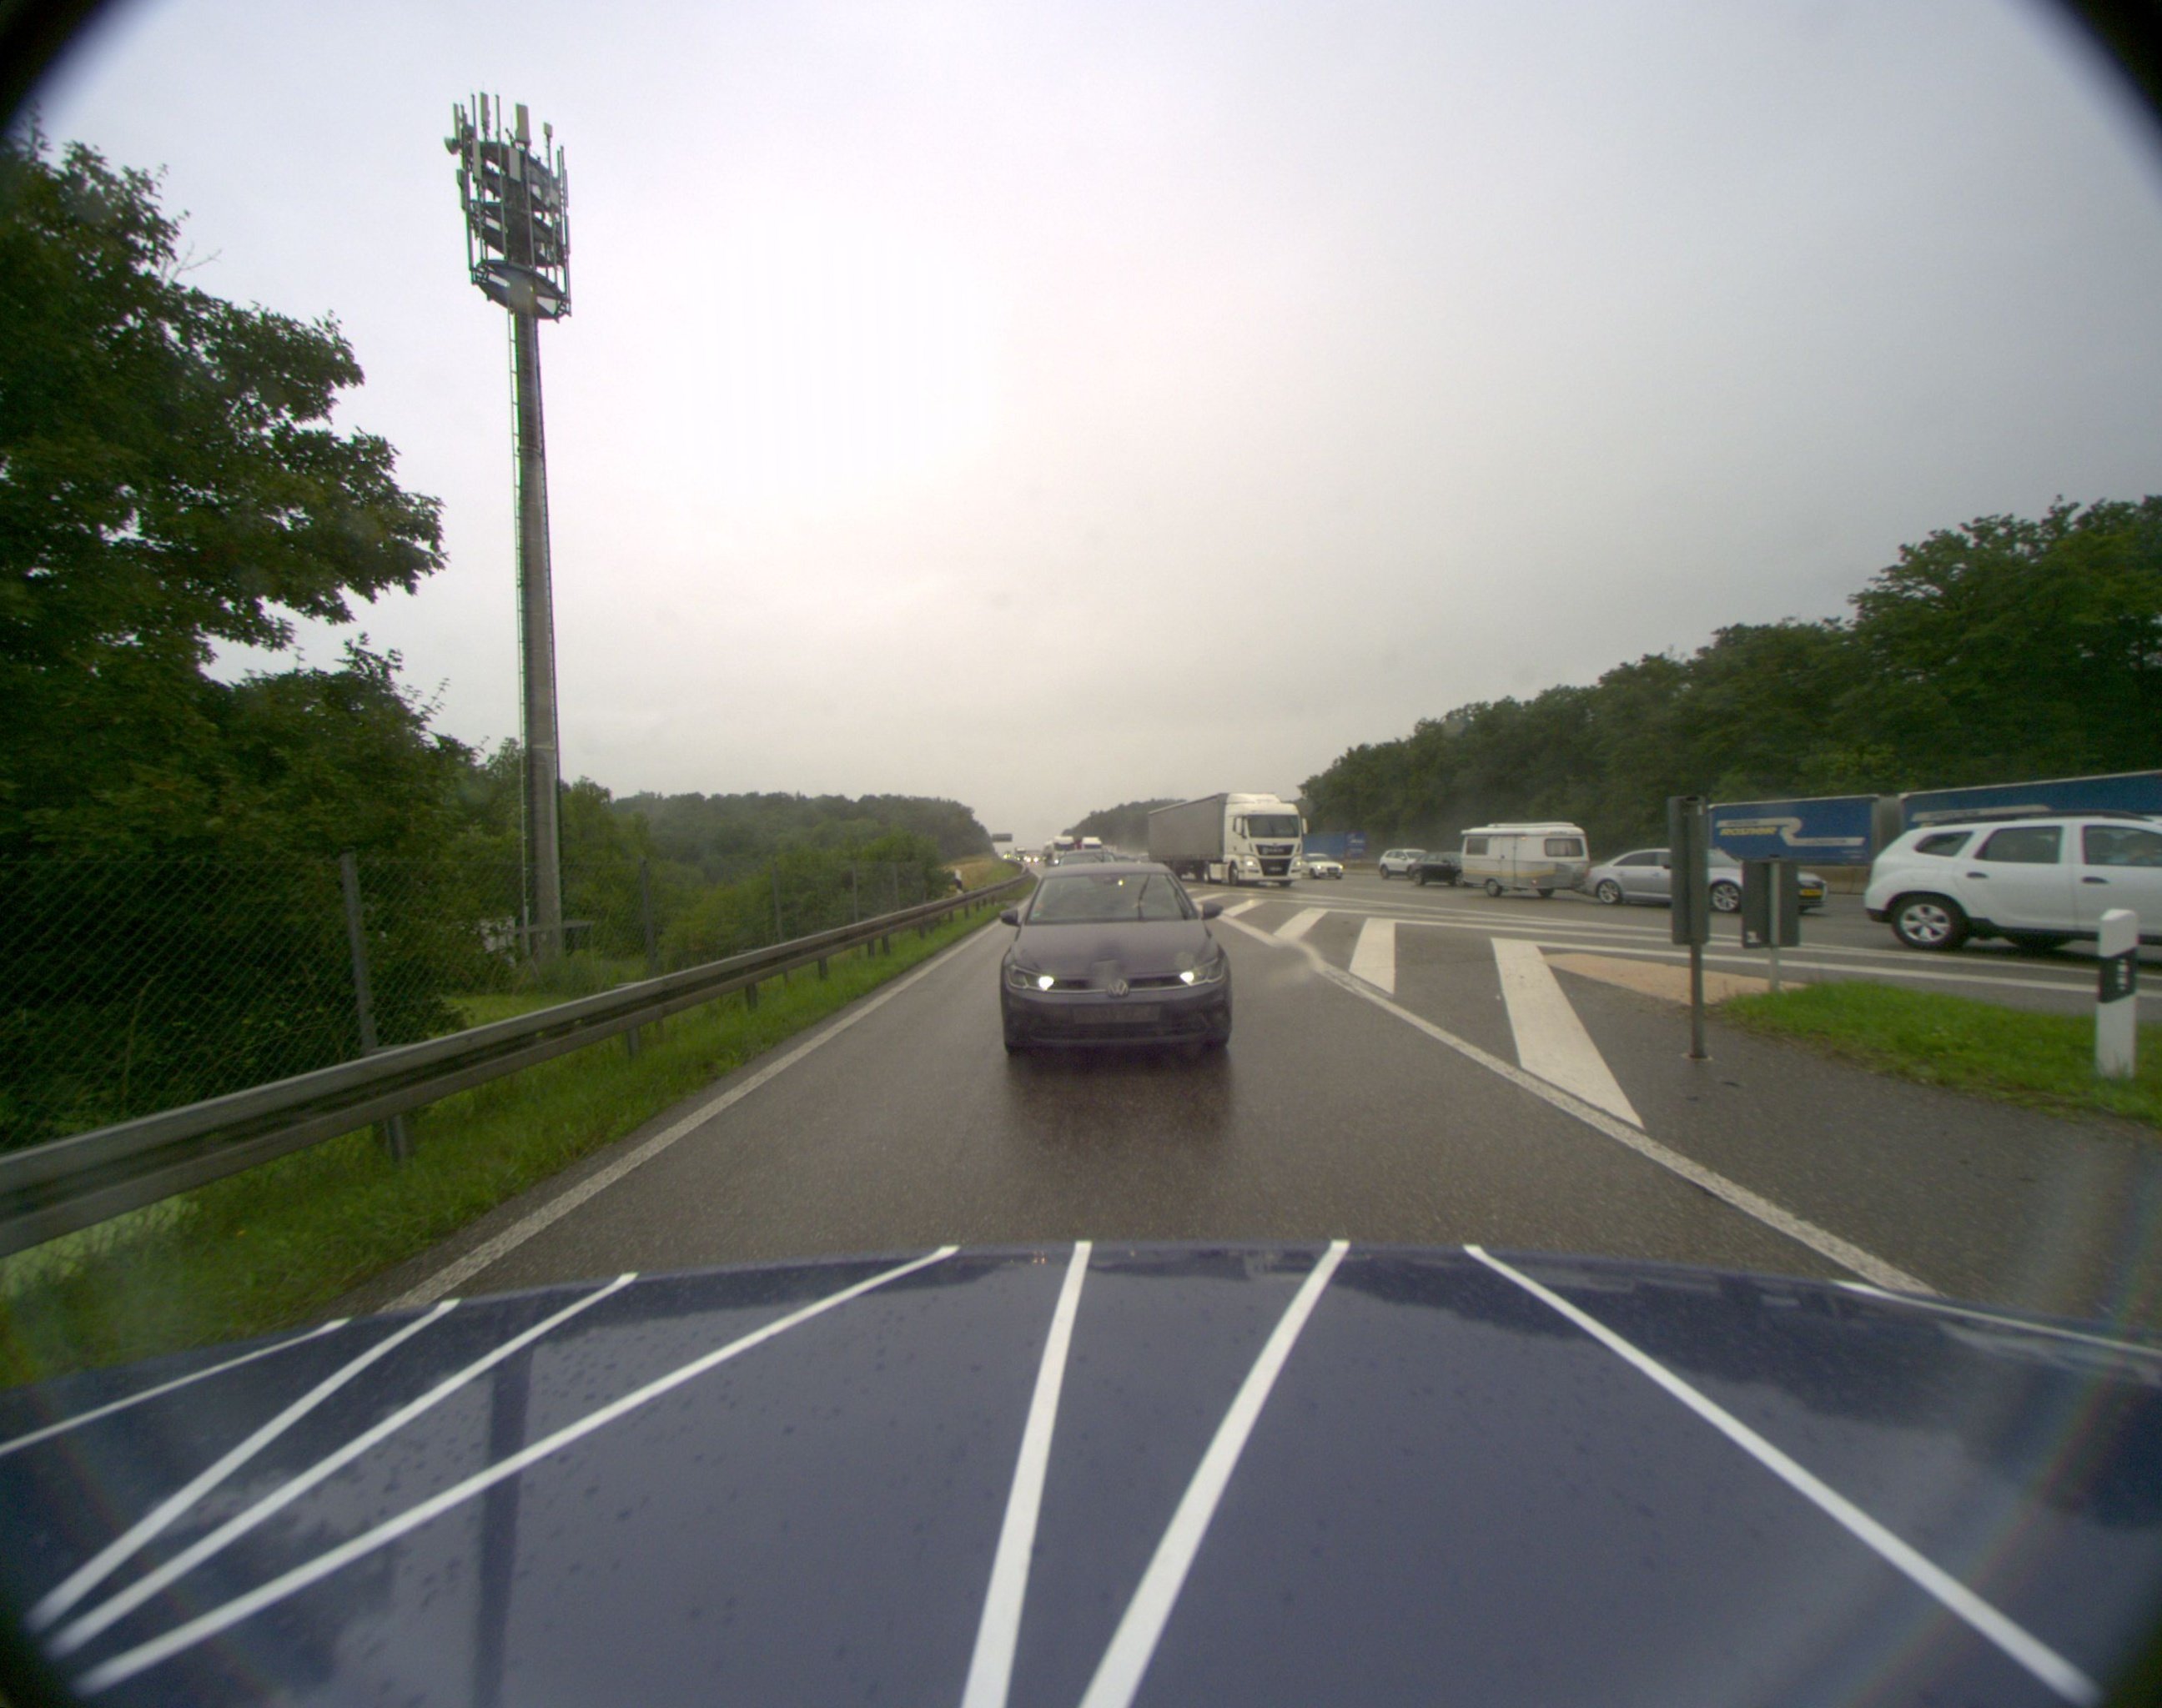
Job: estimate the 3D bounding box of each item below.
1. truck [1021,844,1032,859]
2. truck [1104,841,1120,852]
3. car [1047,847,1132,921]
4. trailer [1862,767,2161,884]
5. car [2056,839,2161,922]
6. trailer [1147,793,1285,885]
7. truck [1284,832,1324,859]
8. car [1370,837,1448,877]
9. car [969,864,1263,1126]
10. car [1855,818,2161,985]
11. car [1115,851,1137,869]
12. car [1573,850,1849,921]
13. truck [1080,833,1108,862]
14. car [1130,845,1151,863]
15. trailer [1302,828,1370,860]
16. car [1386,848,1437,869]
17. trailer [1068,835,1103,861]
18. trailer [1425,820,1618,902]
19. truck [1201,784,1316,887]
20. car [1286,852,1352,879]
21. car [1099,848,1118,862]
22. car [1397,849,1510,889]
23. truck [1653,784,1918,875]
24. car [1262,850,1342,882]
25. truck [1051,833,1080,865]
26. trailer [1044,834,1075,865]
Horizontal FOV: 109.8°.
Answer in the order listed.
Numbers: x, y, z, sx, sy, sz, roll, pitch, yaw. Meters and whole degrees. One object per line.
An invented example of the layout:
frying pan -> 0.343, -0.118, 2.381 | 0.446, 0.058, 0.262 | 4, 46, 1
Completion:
truck -> -15.928, -0.839, 221.714 | 2.597, 4.120, 5.229 | -4, 0, -2
truck -> 10.385, -2.450, 254.676 | 3.157, 3.643, 15.200 | -1, 0, -6
car -> 0.253, 0.679, 19.344 | 1.810, 1.532, 4.000 | -5, 0, 2
trailer -> 38.329, -1.133, 30.698 | 3.100, 4.024, 9.157 | -5, 1, -10
car -> 21.507, 0.513, 13.727 | 1.710, 1.566, 4.521 | 0, 0, -9
trailer -> 6.469, -0.630, 39.963 | 2.904, 3.959, 14.108 | 0, 0, -8
truck -> 28.643, -1.075, 97.834 | 2.770, 3.395, 5.706 | -2, 0, -7
car -> 17.986, 0.185, 41.873 | 1.942, 2.002, 3.996 | -3, 0, -10
car -> 0.215, 0.876, 6.687 | 1.670, 1.394, 4.261 | -4, 0, 0
car -> 11.041, 0.456, 7.638 | 1.792, 1.577, 4.320 | 0, 0, -9
car -> 4.768, 0.629, 81.534 | 1.766, 1.892, 3.998 | -2, 0, -5
car -> 13.522, 0.608, 16.756 | 1.852, 1.340, 4.578 | 0, 0, -10
truck -> 1.729, -0.886, 104.066 | 2.698, 3.635, 5.321 | -4, 1, -8
car -> 6.951, 0.019, 89.211 | 1.862, 2.002, 3.998 | -1, 0, -5
trailer -> 29.765, -1.085, 89.346 | 2.741, 3.397, 11.391 | -2, 0, -7
car -> 28.181, 0.345, 64.965 | 2.000, 1.709, 4.365 | 0, 0, -9
trailer -> 0.524, -0.808, 112.868 | 2.692, 3.485, 15.114 | -4, 1, -8
trailer -> 12.806, 0.206, 22.606 | 2.136, 2.143, 5.175 | 0, 0, -10
truck -> 7.483, -0.719, 32.913 | 2.882, 4.028, 5.930 | 0, 0, -8
car -> 13.615, 0.620, 43.779 | 1.886, 1.472, 4.499 | 0, 0, -9
car -> 4.158, 0.187, 115.313 | 2.000, 2.002, 4.109 | -1, 0, -9
car -> 15.266, 0.551, 31.449 | 2.000, 1.531, 4.524 | 0, 0, -9
truck -> 36.671, -1.194, 40.459 | 3.071, 3.957, 10.548 | -5, 1, -9
car -> 10.822, 0.545, 37.514 | 1.886, 1.472, 4.498 | -1, 0, -12
truck -> -2.082, -0.605, 98.001 | 2.759, 3.985, 6.502 | -1, 0, -9
trailer -> -3.049, -0.608, 104.152 | 2.771, 4.002, 11.032 | -1, 0, -9
